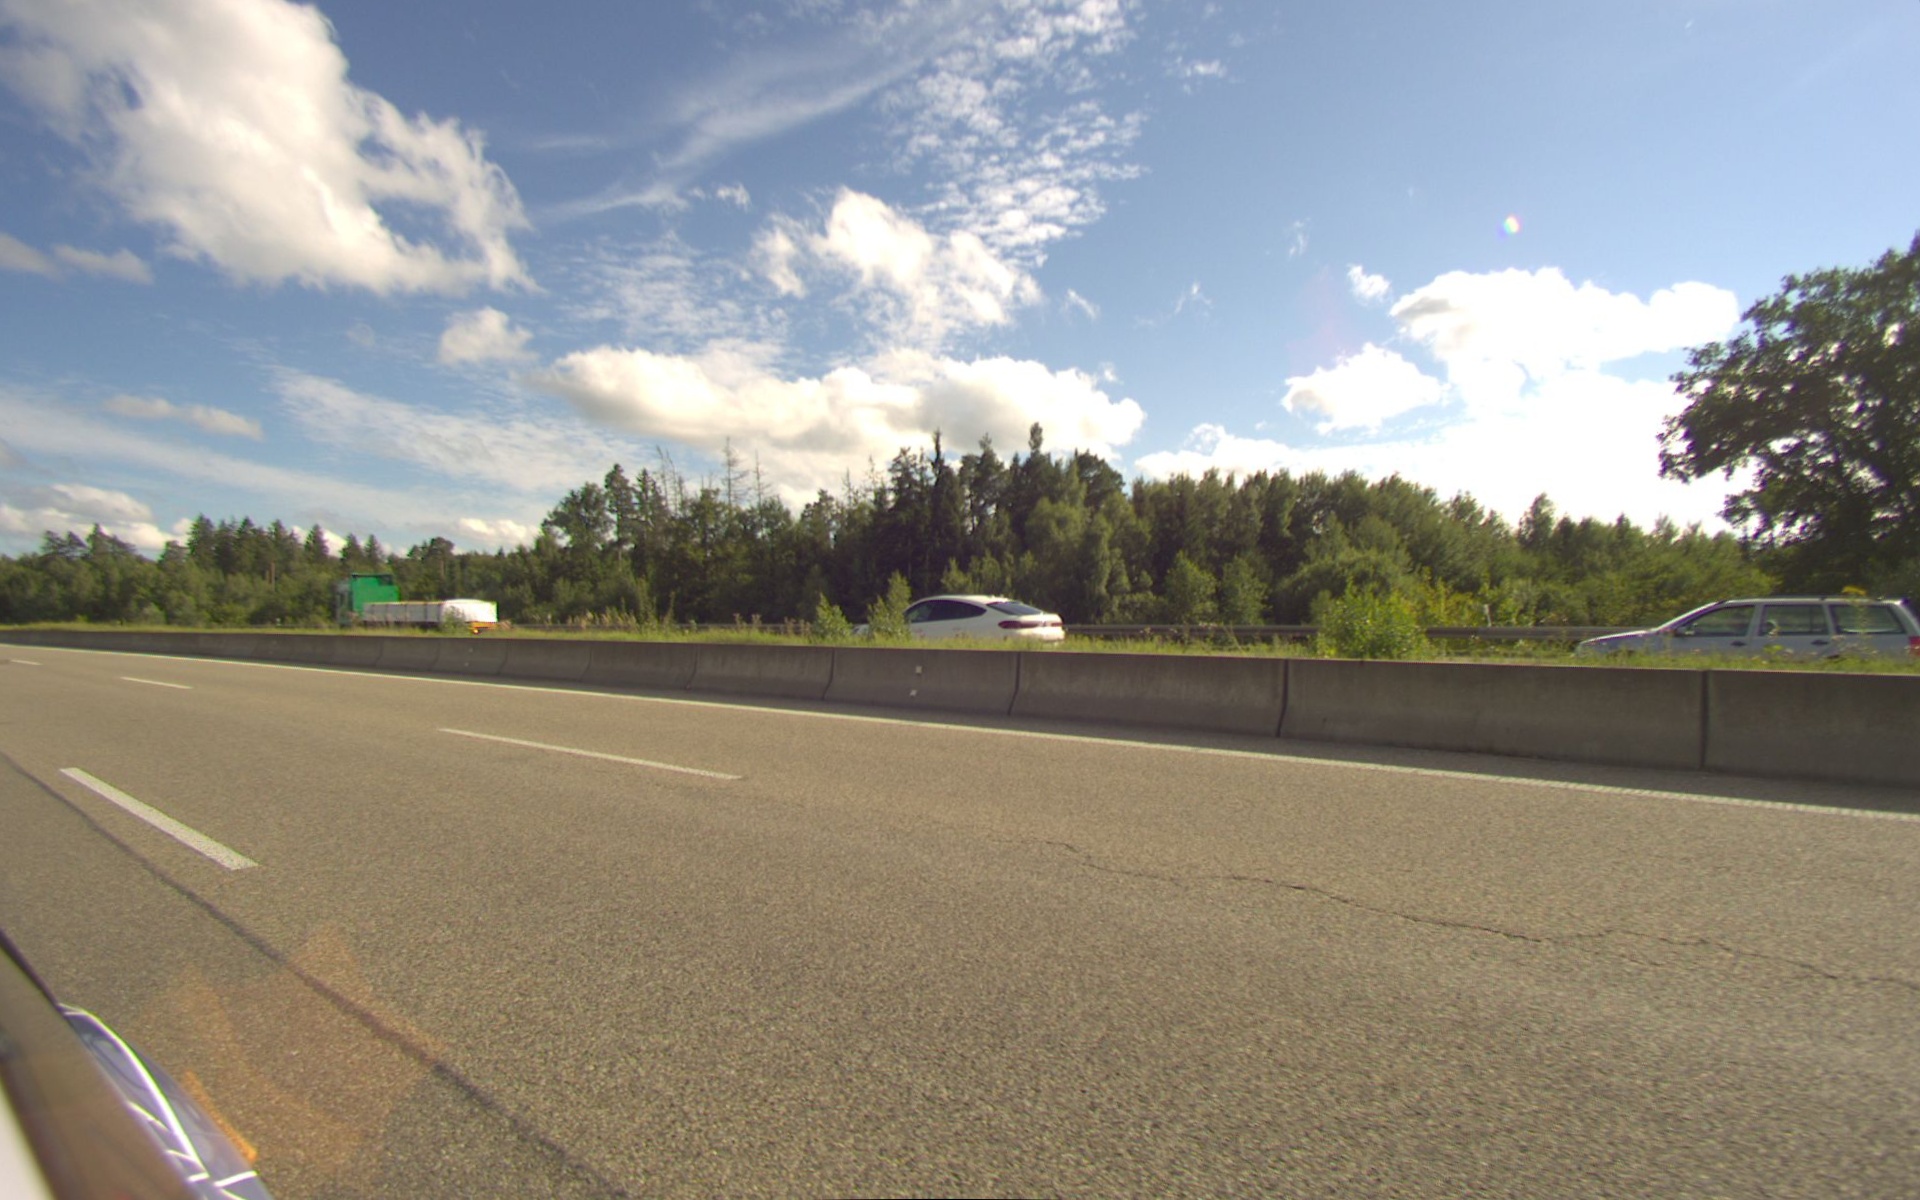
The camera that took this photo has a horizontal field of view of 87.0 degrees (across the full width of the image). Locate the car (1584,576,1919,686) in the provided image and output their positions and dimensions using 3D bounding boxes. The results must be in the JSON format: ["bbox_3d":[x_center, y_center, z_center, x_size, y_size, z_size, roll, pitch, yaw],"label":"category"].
[{"bbox_3d":[11.871,0.415,14.757,4.462,1.413,1.973,-1,-1,41],"label":"car"}]

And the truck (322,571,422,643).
[{"bbox_3d":[-34.765,0.446,59.789,5.859,4.039,3.341,-1,-1,41],"label":"truck"}]

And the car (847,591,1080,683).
[{"bbox_3d":[-0.016,0.693,20.070,4.462,1.621,1.906,-1,-1,41],"label":"car"}]

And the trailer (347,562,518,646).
[{"bbox_3d":[-28.745,0.309,54.599,13.631,4.039,3.341,-1,0,41],"label":"trailer"}]
